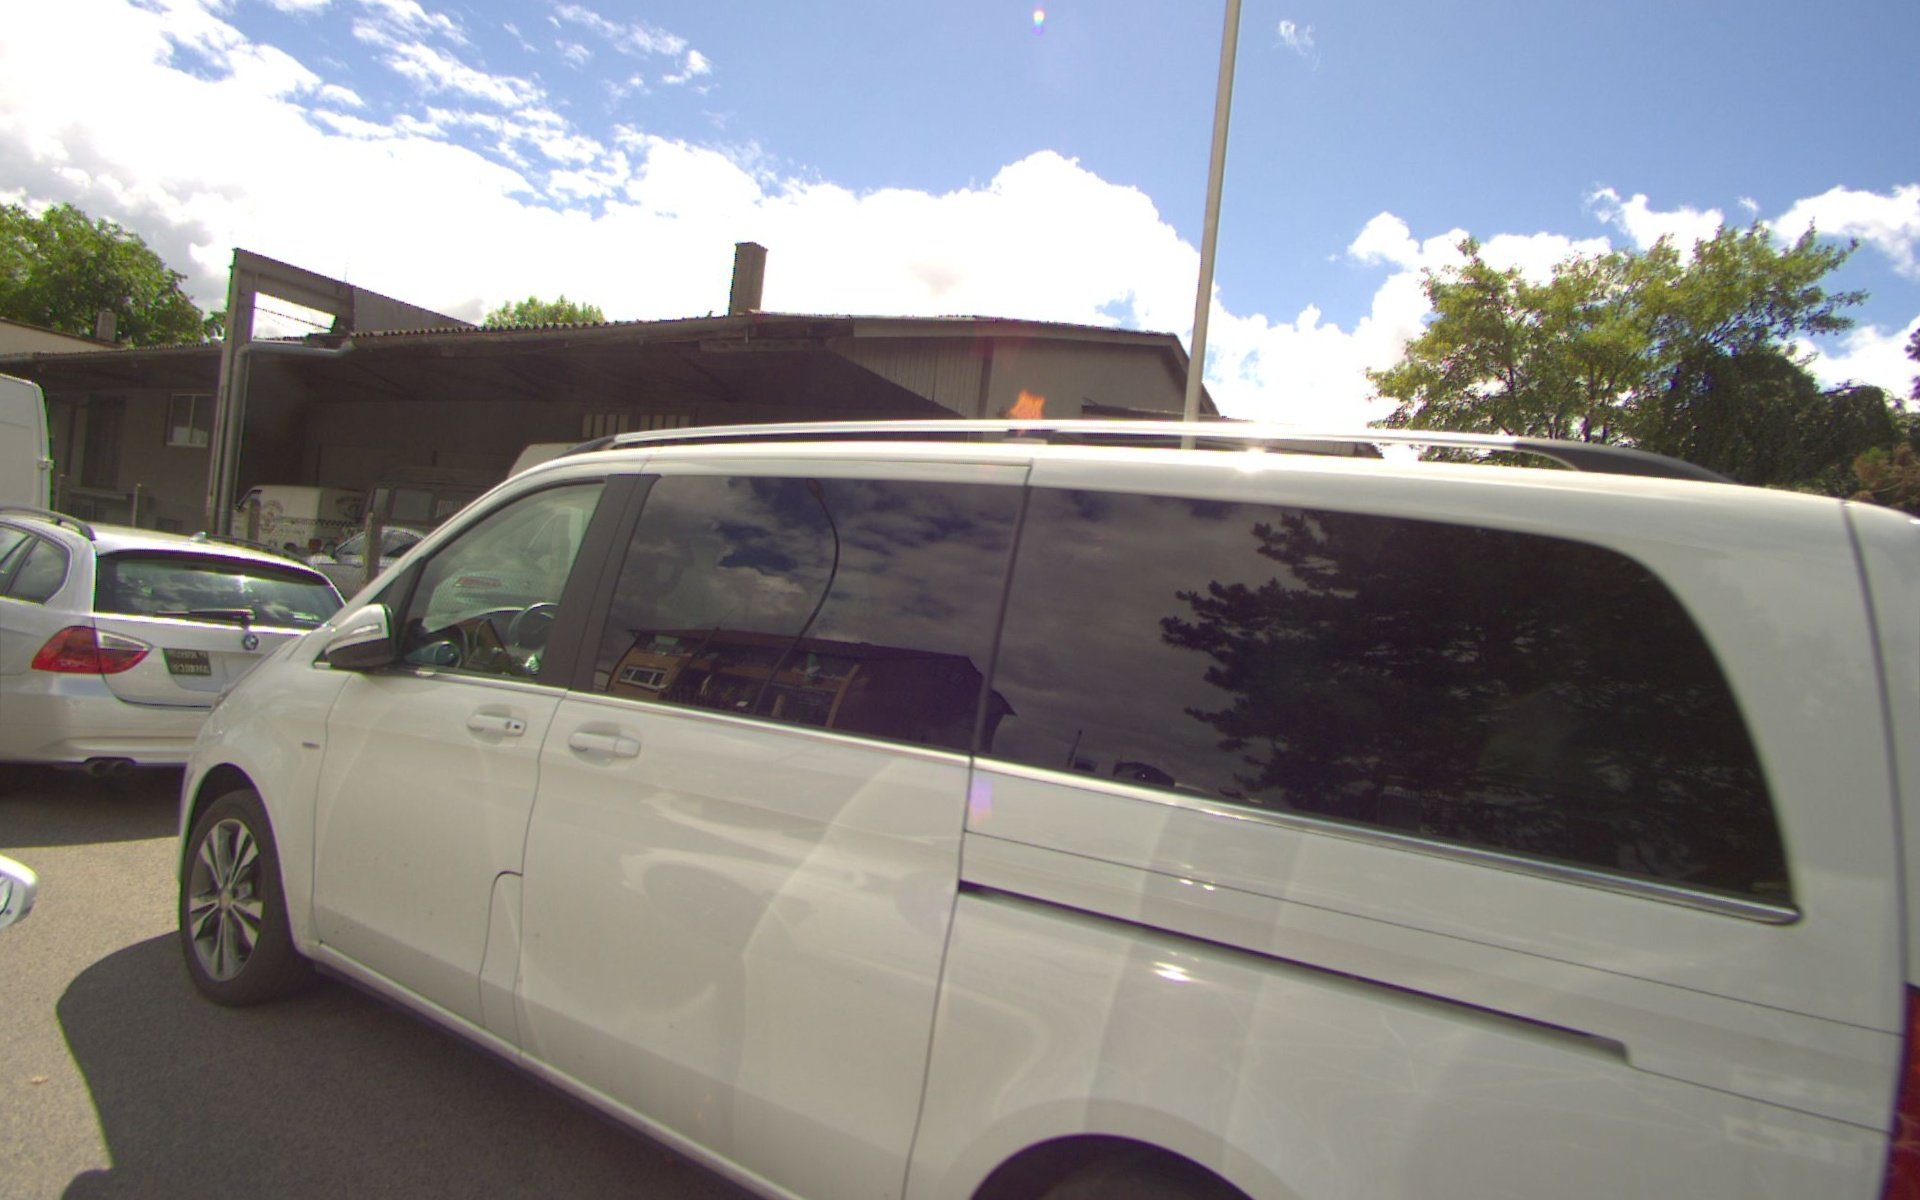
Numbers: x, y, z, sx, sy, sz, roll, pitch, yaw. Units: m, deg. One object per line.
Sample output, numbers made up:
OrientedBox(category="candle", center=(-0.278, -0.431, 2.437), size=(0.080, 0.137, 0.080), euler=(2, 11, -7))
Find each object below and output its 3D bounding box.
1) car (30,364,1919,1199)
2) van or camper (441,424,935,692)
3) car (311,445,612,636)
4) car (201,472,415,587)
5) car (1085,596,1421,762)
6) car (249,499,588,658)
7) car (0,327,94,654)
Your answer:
OrientedBox(category="car", center=(-0.476, 0.546, 3.075), size=(5.299, 1.907, 1.909), euler=(7, -1, 31))
OrientedBox(category="van or camper", center=(-4.141, -0.700, 14.851), size=(6.797, 3.099, 2.885), euler=(7, 0, 31))
OrientedBox(category="car", center=(-9.052, -1.112, 18.111), size=(5.404, 2.715, 2.020), euler=(8, 1, 30))
OrientedBox(category="car", center=(-14.452, -1.585, 22.220), size=(4.772, 1.934, 1.996), euler=(8, 1, 32))
OrientedBox(category="car", center=(4.659, 1.182, 16.318), size=(4.733, 1.774, 1.819), euler=(9, 2, 33))
OrientedBox(category="car", center=(-7.414, -0.328, 13.598), size=(4.844, 1.508, 1.766), euler=(8, 0, 32))
OrientedBox(category="car", center=(-11.120, -1.268, 9.625), size=(6.546, 2.724, 2.217), euler=(7, 1, 31))
